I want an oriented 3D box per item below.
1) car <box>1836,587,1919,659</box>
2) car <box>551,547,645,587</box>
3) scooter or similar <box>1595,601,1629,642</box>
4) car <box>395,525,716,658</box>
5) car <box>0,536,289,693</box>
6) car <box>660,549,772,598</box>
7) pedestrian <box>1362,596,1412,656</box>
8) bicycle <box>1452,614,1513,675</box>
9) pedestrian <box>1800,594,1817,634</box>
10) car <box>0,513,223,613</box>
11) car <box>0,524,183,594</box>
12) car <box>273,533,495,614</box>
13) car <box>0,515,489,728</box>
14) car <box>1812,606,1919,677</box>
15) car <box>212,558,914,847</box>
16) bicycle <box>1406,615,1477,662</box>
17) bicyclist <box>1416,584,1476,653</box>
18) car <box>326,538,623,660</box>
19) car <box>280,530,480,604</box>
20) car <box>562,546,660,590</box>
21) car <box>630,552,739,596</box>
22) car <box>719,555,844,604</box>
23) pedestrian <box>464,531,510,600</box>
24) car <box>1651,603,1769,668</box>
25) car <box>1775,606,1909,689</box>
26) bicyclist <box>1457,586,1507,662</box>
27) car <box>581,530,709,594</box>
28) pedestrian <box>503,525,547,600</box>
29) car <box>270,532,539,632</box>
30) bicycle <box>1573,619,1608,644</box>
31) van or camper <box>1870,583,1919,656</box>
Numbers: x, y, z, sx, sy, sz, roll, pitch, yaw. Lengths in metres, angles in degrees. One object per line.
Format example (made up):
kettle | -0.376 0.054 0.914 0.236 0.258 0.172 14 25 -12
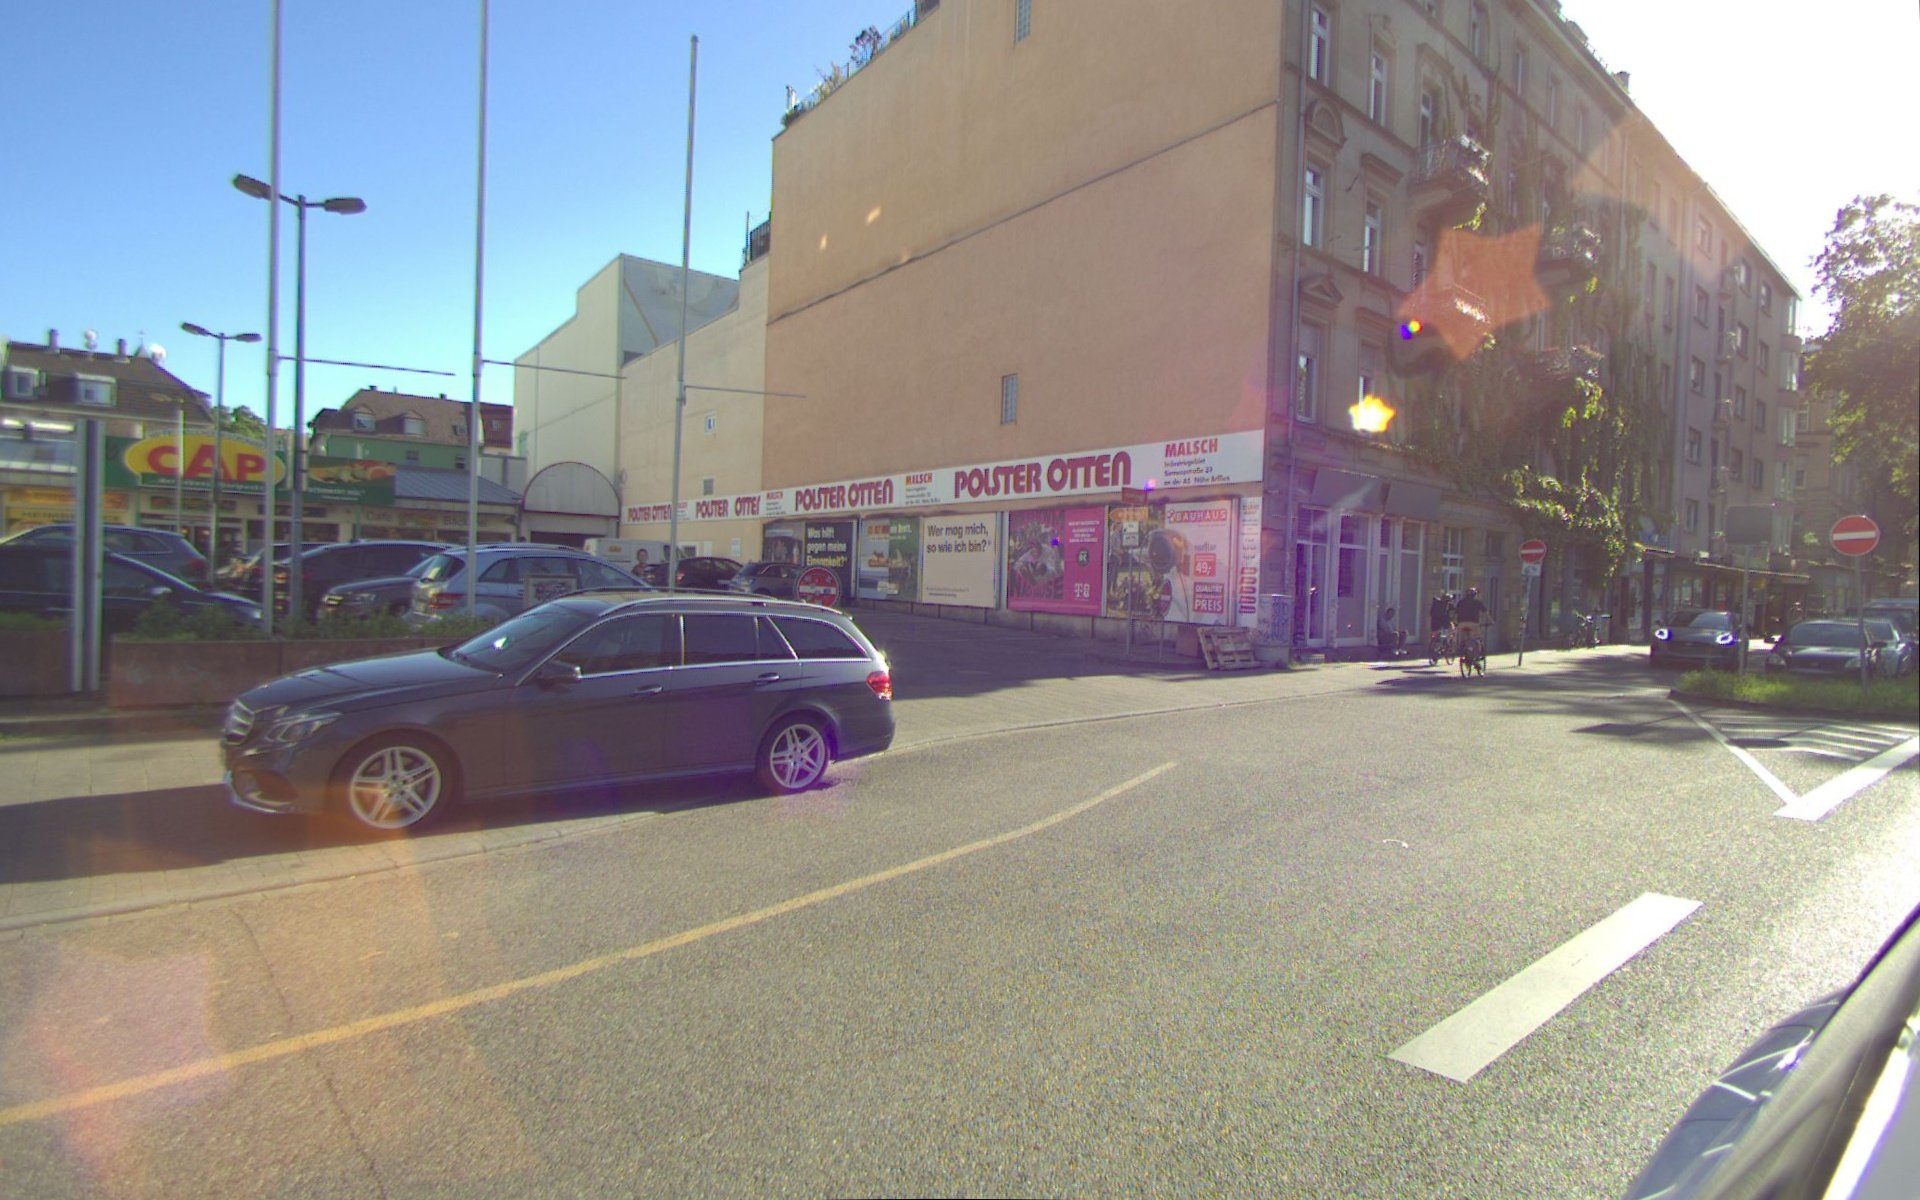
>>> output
car | 25.237 0.592 27.244 3.929 1.786 1.868 1 2 -40
car | -17.350 -1.556 48.554 3.966 1.759 1.664 1 1 -30
scooter or similar | 20.544 0.661 31.922 0.631 1.188 1.719 2 1 25
car | -5.720 -0.132 14.611 3.934 1.665 1.746 0 2 -45
car | -9.266 0.113 10.739 3.339 1.504 1.559 1 1 -45
car | -8.738 -0.955 36.304 3.575 1.690 1.682 -1 2 -35
pedestrian | 9.716 0.584 23.038 0.701 1.276 0.717 1 4 -40
bicycle | 10.539 0.862 20.390 0.754 1.116 1.928 2 1 37
pedestrian | 39.312 0.649 46.900 0.507 1.856 0.469 1 1 -41
car | -16.083 -0.656 18.301 4.305 1.687 1.758 1 2 -41
car | -21.208 -0.967 24.315 3.930 1.538 1.725 1 2 -41
car | -12.190 -0.534 21.549 3.870 1.563 1.544 1 2 -42
car | -6.830 0.129 9.712 3.839 1.665 1.651 0 3 -45
car | 21.450 0.911 23.757 3.932 1.537 1.740 0 -1 -43
car | -2.786 0.557 7.768 4.649 1.505 1.838 1 4 -40
bicycle | 10.816 0.840 22.699 1.884 0.931 0.651 0 5 -40
bicyclist | 10.944 0.408 22.785 1.161 1.463 0.678 1 5 -40
car | -7.679 -0.049 16.222 3.933 1.714 1.747 0 2 -44
car | -13.758 -0.754 24.116 3.870 1.601 1.659 1 2 -42
car | -15.931 -1.456 46.229 3.966 1.823 1.664 1 1 -30
car | -10.308 -0.977 37.922 3.575 1.552 1.682 -1 2 -35
car | -5.713 -0.681 32.557 3.579 1.481 1.680 -1 2 -39
pedestrian | -12.812 -0.923 27.397 0.907 1.818 0.818 1 1 -40
car | 19.833 0.887 26.683 4.305 1.547 1.700 1 0 -42
car | 18.200 0.906 20.828 3.932 1.537 1.642 0 -1 -43
bicyclist | 10.423 0.457 20.213 0.743 1.480 0.939 0 0 37
car | -13.042 -1.532 42.021 4.789 2.442 1.711 1 0 -34
pedestrian | -12.153 -1.030 28.259 0.907 2.039 0.818 1 1 -40
car | -9.627 -0.287 17.711 3.871 1.564 1.544 1 1 -43
bicycle | 19.607 0.969 31.467 1.486 0.714 0.469 1 1 -41
van or camper | 29.356 0.587 30.780 5.006 2.038 1.887 1 2 -42
